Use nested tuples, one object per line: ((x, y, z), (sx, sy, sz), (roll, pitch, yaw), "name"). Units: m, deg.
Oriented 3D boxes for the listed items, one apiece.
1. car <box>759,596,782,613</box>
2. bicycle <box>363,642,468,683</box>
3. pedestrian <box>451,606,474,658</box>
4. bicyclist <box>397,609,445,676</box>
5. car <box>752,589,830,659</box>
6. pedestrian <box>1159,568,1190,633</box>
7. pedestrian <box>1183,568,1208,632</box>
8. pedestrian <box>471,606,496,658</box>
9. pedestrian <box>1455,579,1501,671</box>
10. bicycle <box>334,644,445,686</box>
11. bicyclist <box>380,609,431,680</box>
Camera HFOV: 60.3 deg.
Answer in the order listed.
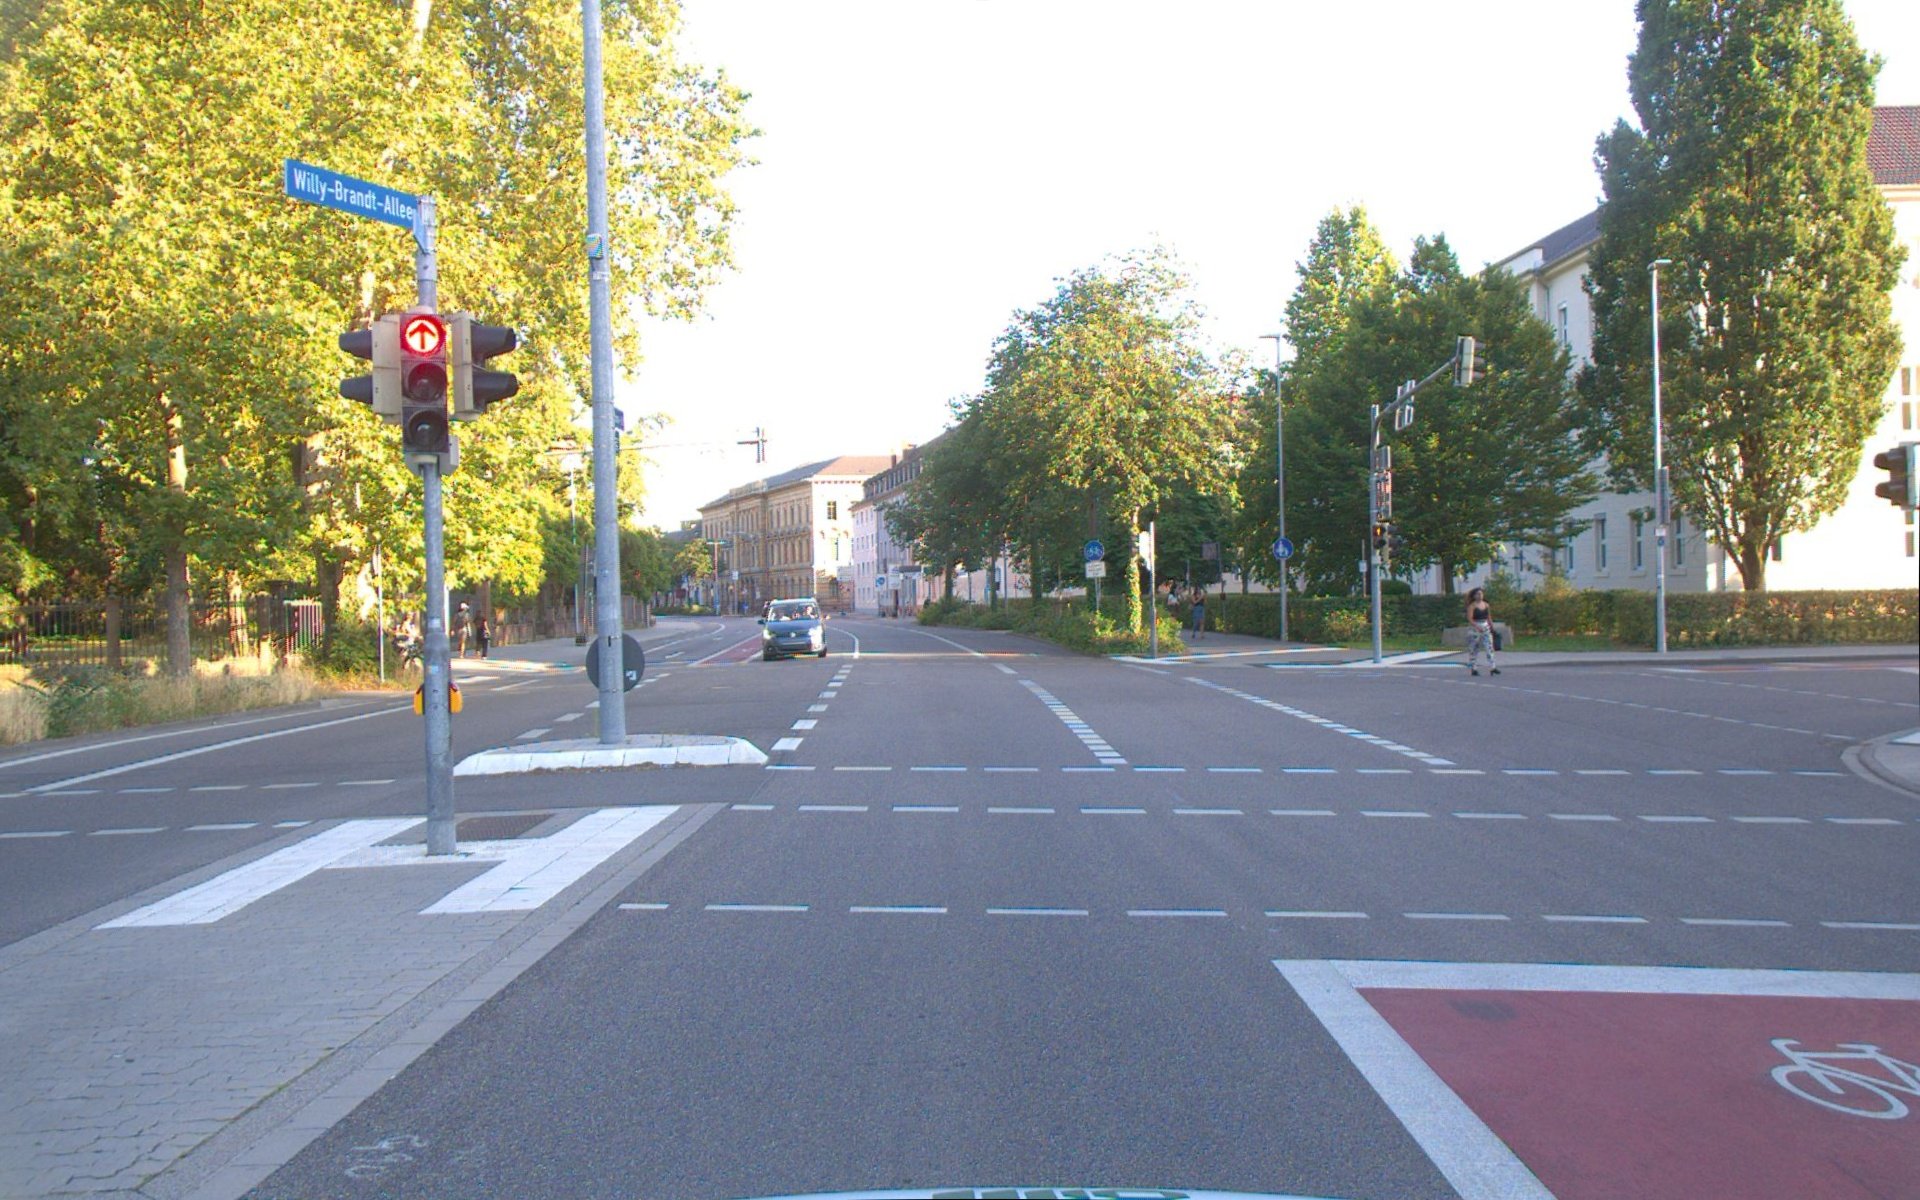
((-19.426, 0.494, 169.425), (1.789, 1.616, 3.984), (-2, 0, -15), "car")
((-13.749, 1.567, 41.801), (2.380, 0.940, 0.775), (-1, 0, 0), "bicycle")
((-15.809, 1.017, 52.523), (0.524, 1.624, 0.590), (-1, 0, -1), "pedestrian")
((-13.618, 1.065, 41.813), (0.938, 1.659, 0.752), (-1, 0, 0), "bicyclist")
((-4.722, 0.644, 46.636), (1.812, 1.750, 4.294), (-3, 0, -2), "car")
((6.835, 0.007, 52.700), (0.852, 2.049, 0.722), (0, 0, -1), "pedestrian")
((7.575, -0.009, 53.191), (0.622, 2.049, 0.720), (0, 0, -5), "pedestrian")
((-15.102, 1.014, 52.441), (0.587, 1.601, 0.646), (-1, 0, -1), "pedestrian")
((9.513, 0.445, 30.397), (0.588, 1.664, 0.691), (0, 0, -5), "pedestrian")
((-13.818, 1.574, 40.092), (2.380, 0.940, 0.775), (-1, 0, 0), "bicycle")
((-13.436, 1.068, 40.085), (0.938, 1.659, 0.752), (-1, 0, 0), "bicyclist")
